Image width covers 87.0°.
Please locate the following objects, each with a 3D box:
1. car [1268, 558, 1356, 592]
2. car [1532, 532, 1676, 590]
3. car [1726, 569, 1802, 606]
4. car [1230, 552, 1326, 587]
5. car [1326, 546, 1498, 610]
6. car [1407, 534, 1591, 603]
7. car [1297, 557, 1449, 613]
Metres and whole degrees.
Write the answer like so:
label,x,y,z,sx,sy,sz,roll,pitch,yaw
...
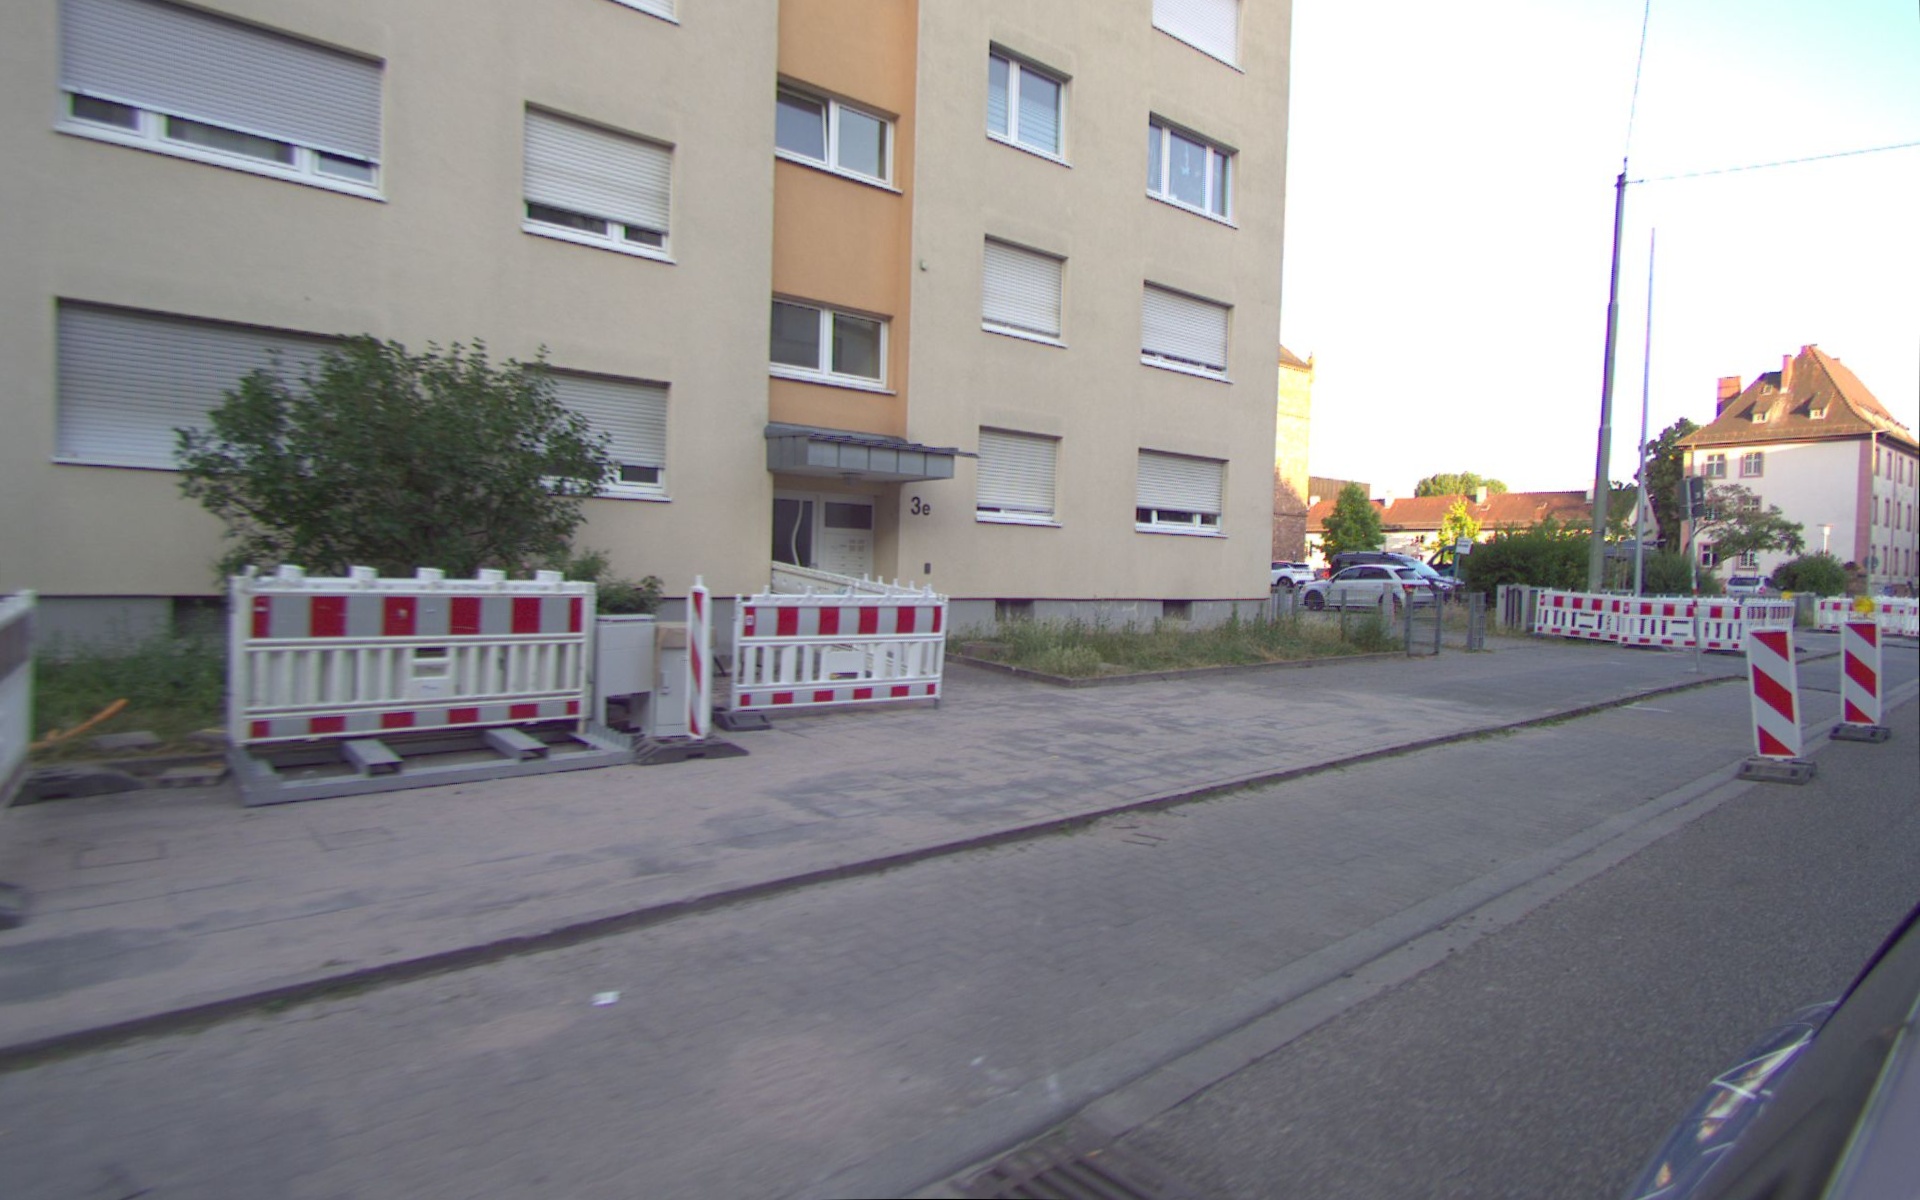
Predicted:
label,x,y,z,sx,sy,sz,roll,pitch,yaw
car,17.123,-1.249,49.410,1.791,1.536,3.736,0,3,-31
car,25.808,-1.563,40.695,1.963,2.224,4.438,0,2,-36
car,37.919,-0.597,47.690,4.723,1.650,1.919,0,2,-40
car,14.972,-1.457,47.833,1.962,1.536,3.933,0,3,-35
car,14.092,-0.733,31.761,1.969,1.832,4.492,0,3,-38
car,18.208,-1.077,34.456,2.245,2.156,5.041,0,2,-33
car,12.161,-0.476,29.998,1.664,1.470,3.841,0,3,-38
